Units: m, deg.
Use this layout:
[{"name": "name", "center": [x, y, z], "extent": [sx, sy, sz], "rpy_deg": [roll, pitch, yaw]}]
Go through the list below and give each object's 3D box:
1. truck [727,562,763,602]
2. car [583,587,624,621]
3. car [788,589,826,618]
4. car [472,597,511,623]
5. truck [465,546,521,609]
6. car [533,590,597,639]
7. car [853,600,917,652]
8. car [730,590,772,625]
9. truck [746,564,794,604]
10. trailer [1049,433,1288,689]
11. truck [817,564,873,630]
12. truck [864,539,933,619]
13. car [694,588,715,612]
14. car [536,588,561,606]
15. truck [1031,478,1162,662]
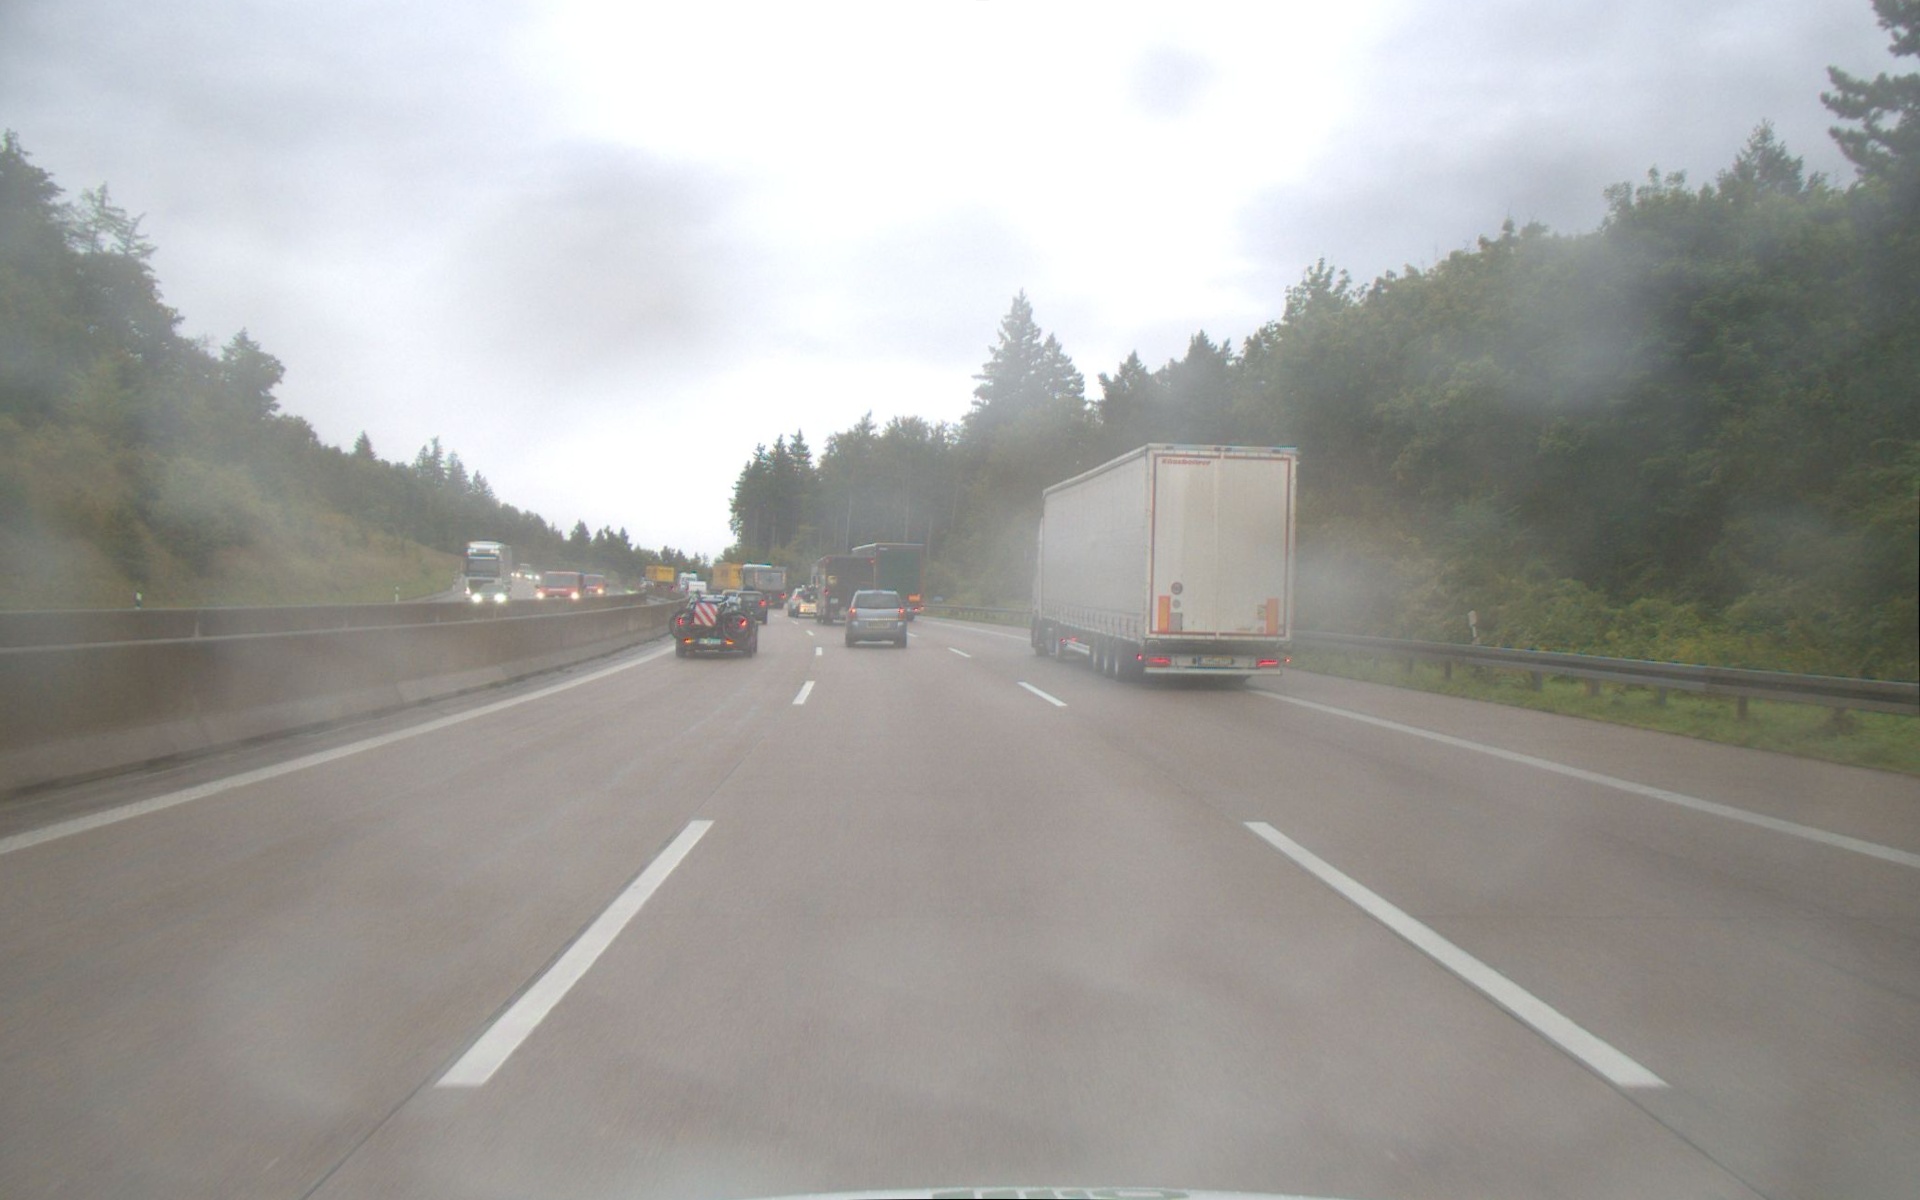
[{"name": "truck", "center": [-23.748, -1.977, 182.626], "extent": [3.672, 4.284, 6.802], "rpy_deg": [0, -1, -10]}, {"name": "car", "center": [-22.798, 0.267, 105.947], "extent": [1.955, 2.119, 5.326], "rpy_deg": [0, 0, -5]}, {"name": "car", "center": [-8.560, 0.177, 92.497], "extent": [1.844, 1.499, 3.998], "rpy_deg": [2, 0, -2]}, {"name": "car", "center": [-26.845, 0.576, 94.900], "extent": [1.591, 1.417, 3.993], "rpy_deg": [0, 0, -8]}, {"name": "truck", "center": [-33.383, -1.560, 118.509], "extent": [2.693, 4.359, 8.300], "rpy_deg": [0, 0, -8]}, {"name": "car", "center": [-17.779, 0.622, 74.753], "extent": [1.954, 2.119, 5.327], "rpy_deg": [0, 0, -4]}, {"name": "car", "center": [-2.146, 0.738, 48.099], "extent": [1.521, 1.375, 3.685], "rpy_deg": [2, 0, 2]}, {"name": "car", "center": [-9.452, 0.303, 75.093], "extent": [1.651, 1.488, 3.680], "rpy_deg": [2, 0, -4]}, {"name": "truck", "center": [-14.796, -1.274, 128.445], "extent": [3.028, 2.956, 7.881], "rpy_deg": [0, 1, -11]}, {"name": "trailer", "center": [3.715, -0.663, 32.853], "extent": [2.372, 4.139, 12.044], "rpy_deg": [0, 0, -4]}, {"name": "truck", "center": [-5.499, -0.197, 77.981], "extent": [2.226, 2.937, 7.891], "rpy_deg": [0, 1, -7]}, {"name": "truck", "center": [-3.538, -1.159, 92.476], "extent": [3.303, 4.204, 10.426], "rpy_deg": [0, 0, -5]}, {"name": "car", "center": [-22.069, 0.036, 142.667], "extent": [1.694, 2.049, 3.648], "rpy_deg": [0, -1, -10]}, {"name": "car", "center": [-32.878, -0.226, 132.182], "extent": [1.592, 1.417, 3.992], "rpy_deg": [0, 0, -9]}, {"name": "truck", "center": [3.191, -0.684, 39.862], "extent": [2.372, 4.139, 4.974], "rpy_deg": [0, 0, -4]}]
